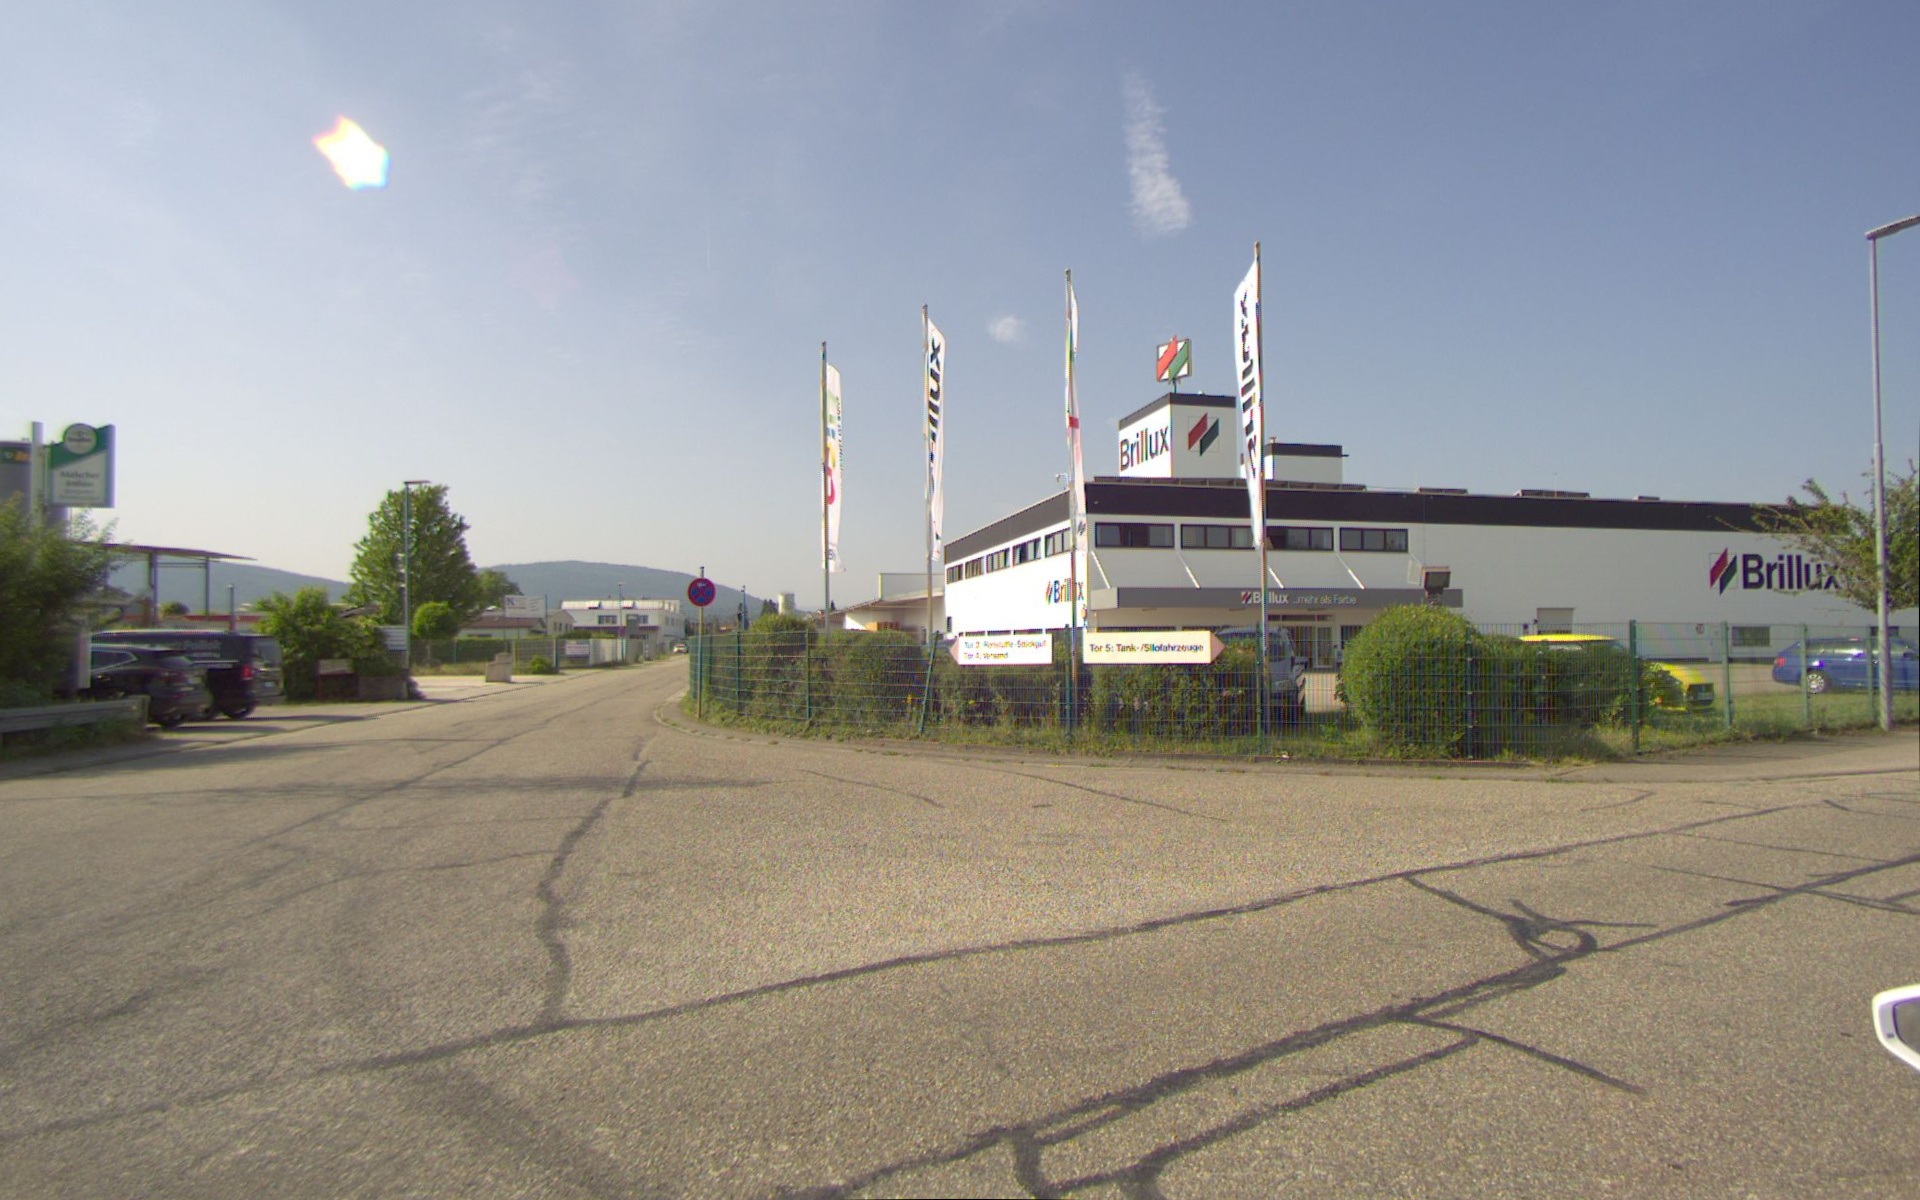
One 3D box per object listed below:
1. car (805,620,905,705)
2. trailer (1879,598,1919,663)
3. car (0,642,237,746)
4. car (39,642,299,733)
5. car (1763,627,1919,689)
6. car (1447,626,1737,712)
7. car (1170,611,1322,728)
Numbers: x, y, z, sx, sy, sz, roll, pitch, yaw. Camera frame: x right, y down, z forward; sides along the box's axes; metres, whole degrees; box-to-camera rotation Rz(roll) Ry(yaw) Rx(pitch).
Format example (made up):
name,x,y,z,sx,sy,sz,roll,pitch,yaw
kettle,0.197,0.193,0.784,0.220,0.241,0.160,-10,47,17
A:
name,x,y,z,sx,sy,sz,roll,pitch,yaw
car,-2.563,1.423,23.606,2.112,1.775,4.659,0,-3,-9
trailer,67.517,2.137,66.773,13.655,4.095,2.483,1,-1,-15
car,-16.261,1.703,18.825,3.936,1.795,1.993,0,-3,-18
car,-16.983,1.846,21.836,3.936,1.795,1.993,0,-3,-18
car,23.277,1.446,25.009,2.054,1.462,4.665,1,-4,-30
car,11.472,1.223,18.541,1.846,1.386,4.147,1,-3,-29
car,5.102,1.096,17.455,1.920,1.718,4.509,1,-1,24
